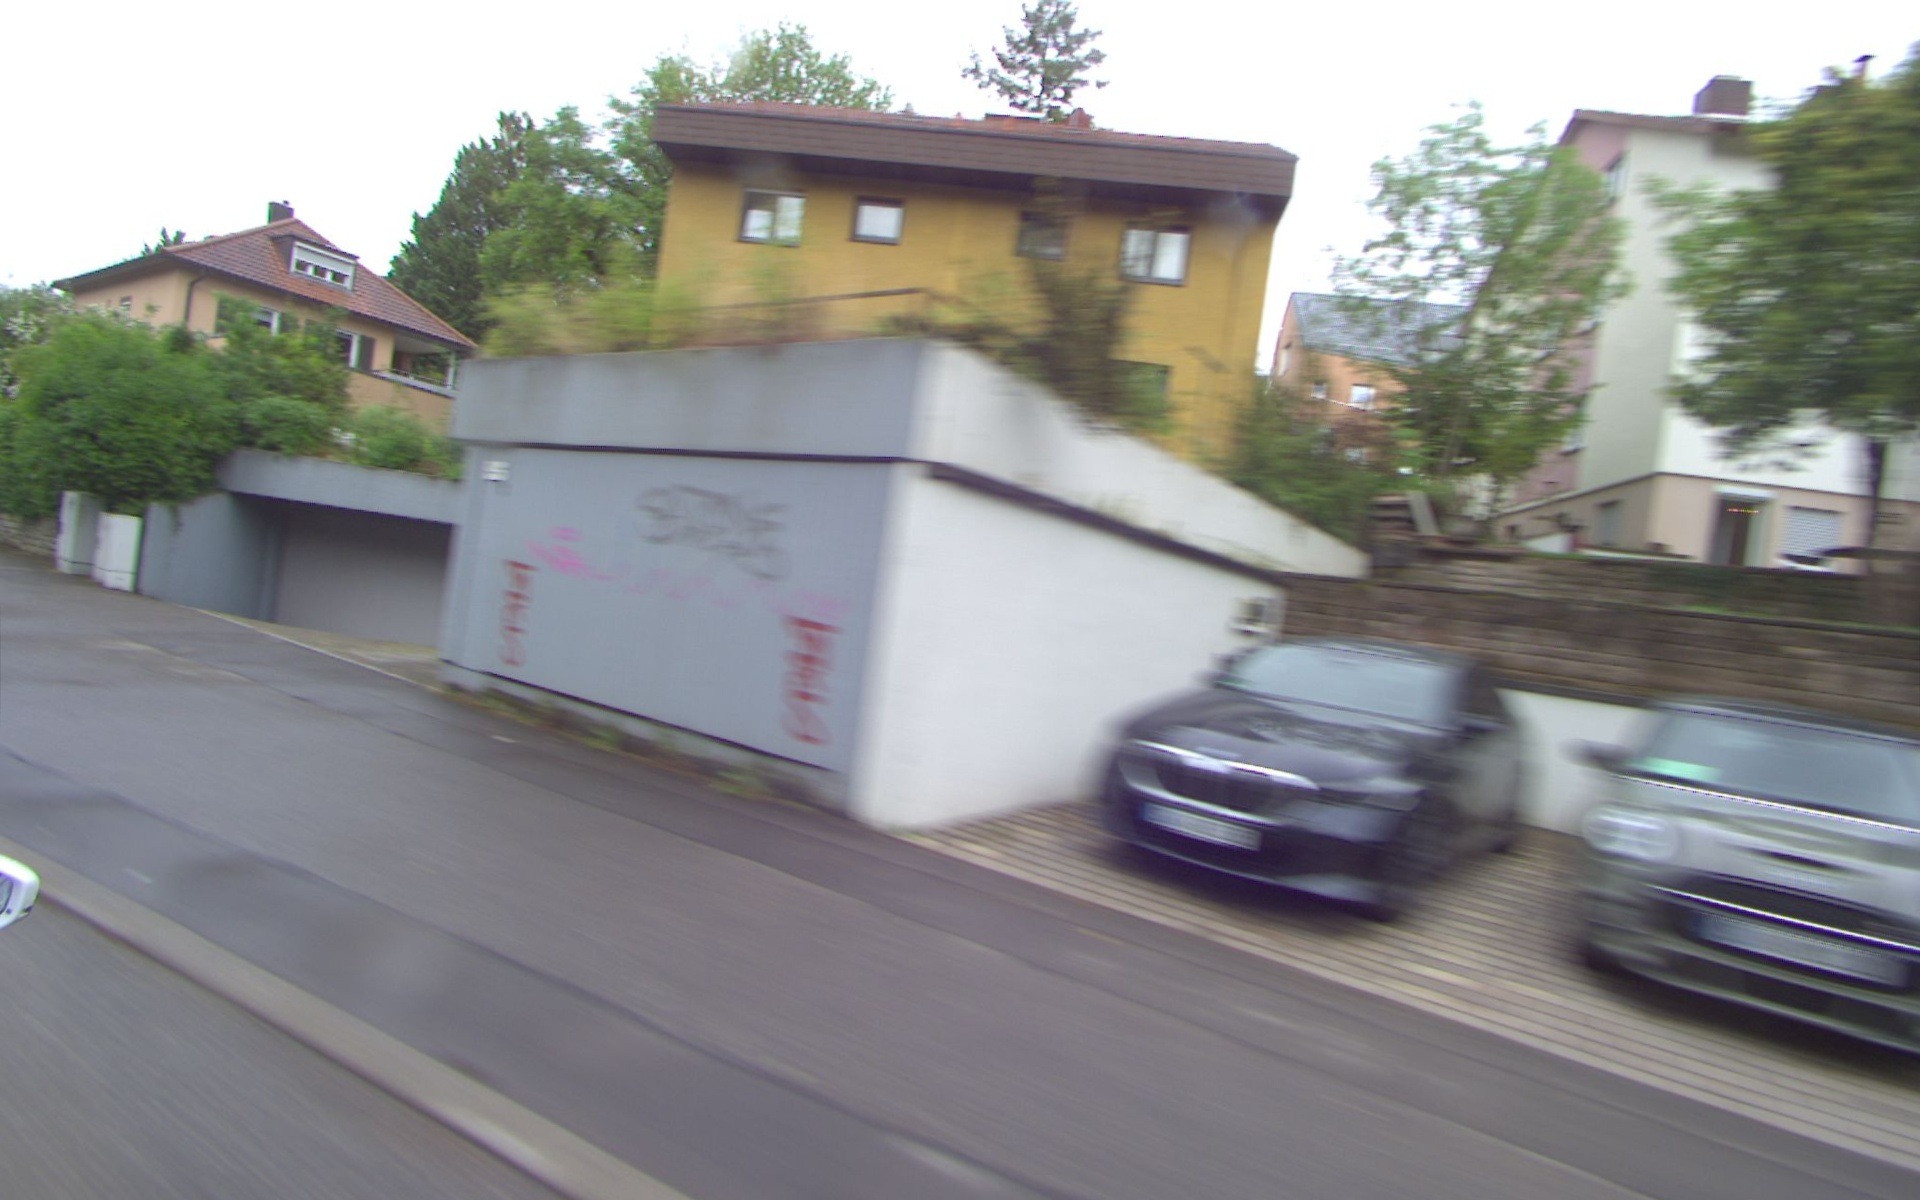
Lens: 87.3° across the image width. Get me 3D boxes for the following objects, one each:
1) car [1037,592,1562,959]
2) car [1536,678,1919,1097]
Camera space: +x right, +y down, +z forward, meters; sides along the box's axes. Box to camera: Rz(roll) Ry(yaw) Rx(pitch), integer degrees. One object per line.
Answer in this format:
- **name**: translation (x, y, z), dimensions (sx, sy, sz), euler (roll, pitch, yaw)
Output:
- **car**: translation (2.553, 0.958, 6.871), dimensions (1.930, 1.534, 4.029), euler (8, 2, 40)
- **car**: translation (4.516, 1.286, 5.619), dimensions (1.807, 1.444, 3.635), euler (7, 1, 35)
